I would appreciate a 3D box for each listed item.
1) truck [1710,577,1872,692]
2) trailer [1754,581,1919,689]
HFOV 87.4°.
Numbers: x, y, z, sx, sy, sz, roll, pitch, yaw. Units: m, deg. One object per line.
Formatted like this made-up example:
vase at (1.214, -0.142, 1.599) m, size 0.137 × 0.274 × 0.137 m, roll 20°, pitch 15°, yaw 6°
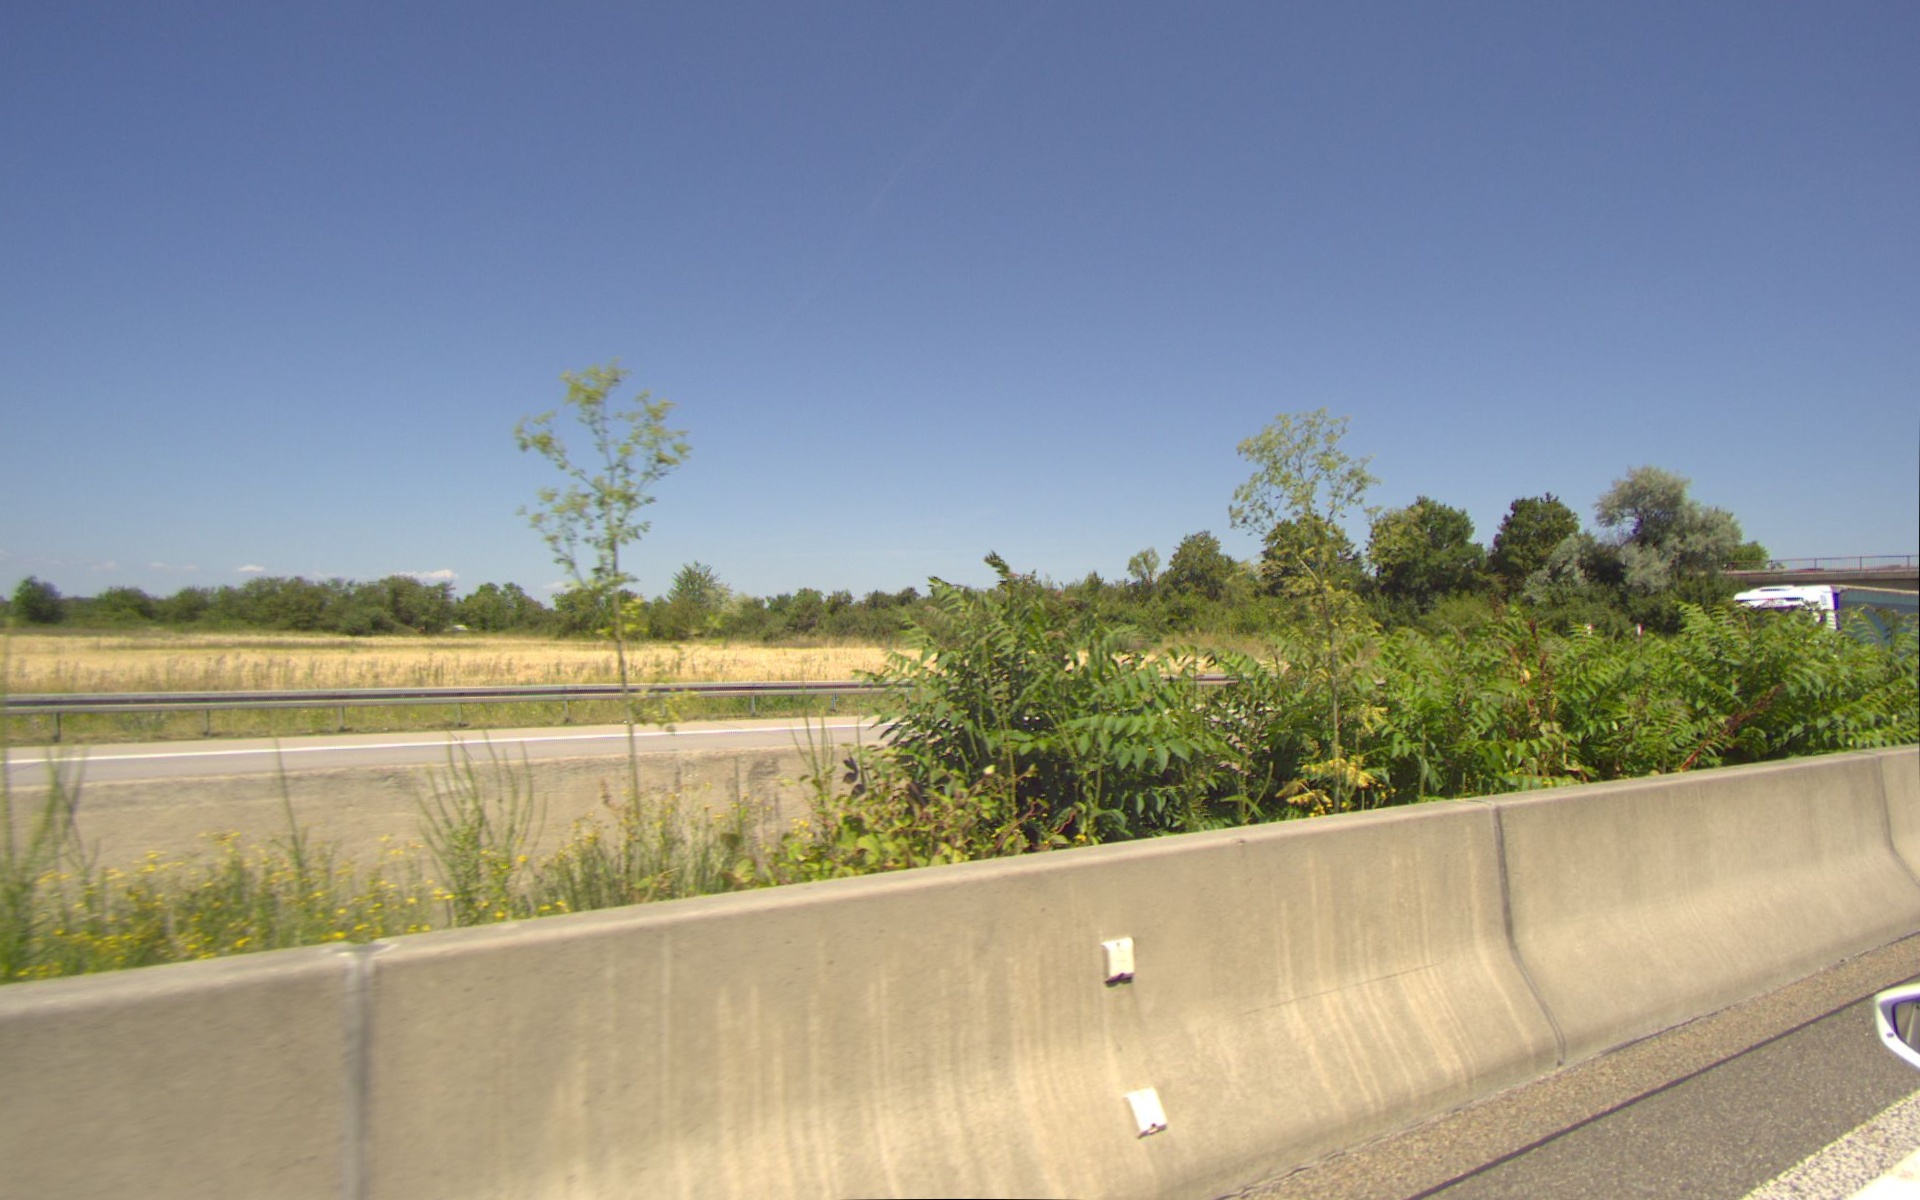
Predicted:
truck at (31.263, 1.328, 37.769) m, size 5.757 × 3.990 × 2.821 m, roll 2°, pitch -3°, yaw -31°
trailer at (37.468, 1.501, 41.477) m, size 13.068 × 3.990 × 2.821 m, roll 2°, pitch -3°, yaw -31°
